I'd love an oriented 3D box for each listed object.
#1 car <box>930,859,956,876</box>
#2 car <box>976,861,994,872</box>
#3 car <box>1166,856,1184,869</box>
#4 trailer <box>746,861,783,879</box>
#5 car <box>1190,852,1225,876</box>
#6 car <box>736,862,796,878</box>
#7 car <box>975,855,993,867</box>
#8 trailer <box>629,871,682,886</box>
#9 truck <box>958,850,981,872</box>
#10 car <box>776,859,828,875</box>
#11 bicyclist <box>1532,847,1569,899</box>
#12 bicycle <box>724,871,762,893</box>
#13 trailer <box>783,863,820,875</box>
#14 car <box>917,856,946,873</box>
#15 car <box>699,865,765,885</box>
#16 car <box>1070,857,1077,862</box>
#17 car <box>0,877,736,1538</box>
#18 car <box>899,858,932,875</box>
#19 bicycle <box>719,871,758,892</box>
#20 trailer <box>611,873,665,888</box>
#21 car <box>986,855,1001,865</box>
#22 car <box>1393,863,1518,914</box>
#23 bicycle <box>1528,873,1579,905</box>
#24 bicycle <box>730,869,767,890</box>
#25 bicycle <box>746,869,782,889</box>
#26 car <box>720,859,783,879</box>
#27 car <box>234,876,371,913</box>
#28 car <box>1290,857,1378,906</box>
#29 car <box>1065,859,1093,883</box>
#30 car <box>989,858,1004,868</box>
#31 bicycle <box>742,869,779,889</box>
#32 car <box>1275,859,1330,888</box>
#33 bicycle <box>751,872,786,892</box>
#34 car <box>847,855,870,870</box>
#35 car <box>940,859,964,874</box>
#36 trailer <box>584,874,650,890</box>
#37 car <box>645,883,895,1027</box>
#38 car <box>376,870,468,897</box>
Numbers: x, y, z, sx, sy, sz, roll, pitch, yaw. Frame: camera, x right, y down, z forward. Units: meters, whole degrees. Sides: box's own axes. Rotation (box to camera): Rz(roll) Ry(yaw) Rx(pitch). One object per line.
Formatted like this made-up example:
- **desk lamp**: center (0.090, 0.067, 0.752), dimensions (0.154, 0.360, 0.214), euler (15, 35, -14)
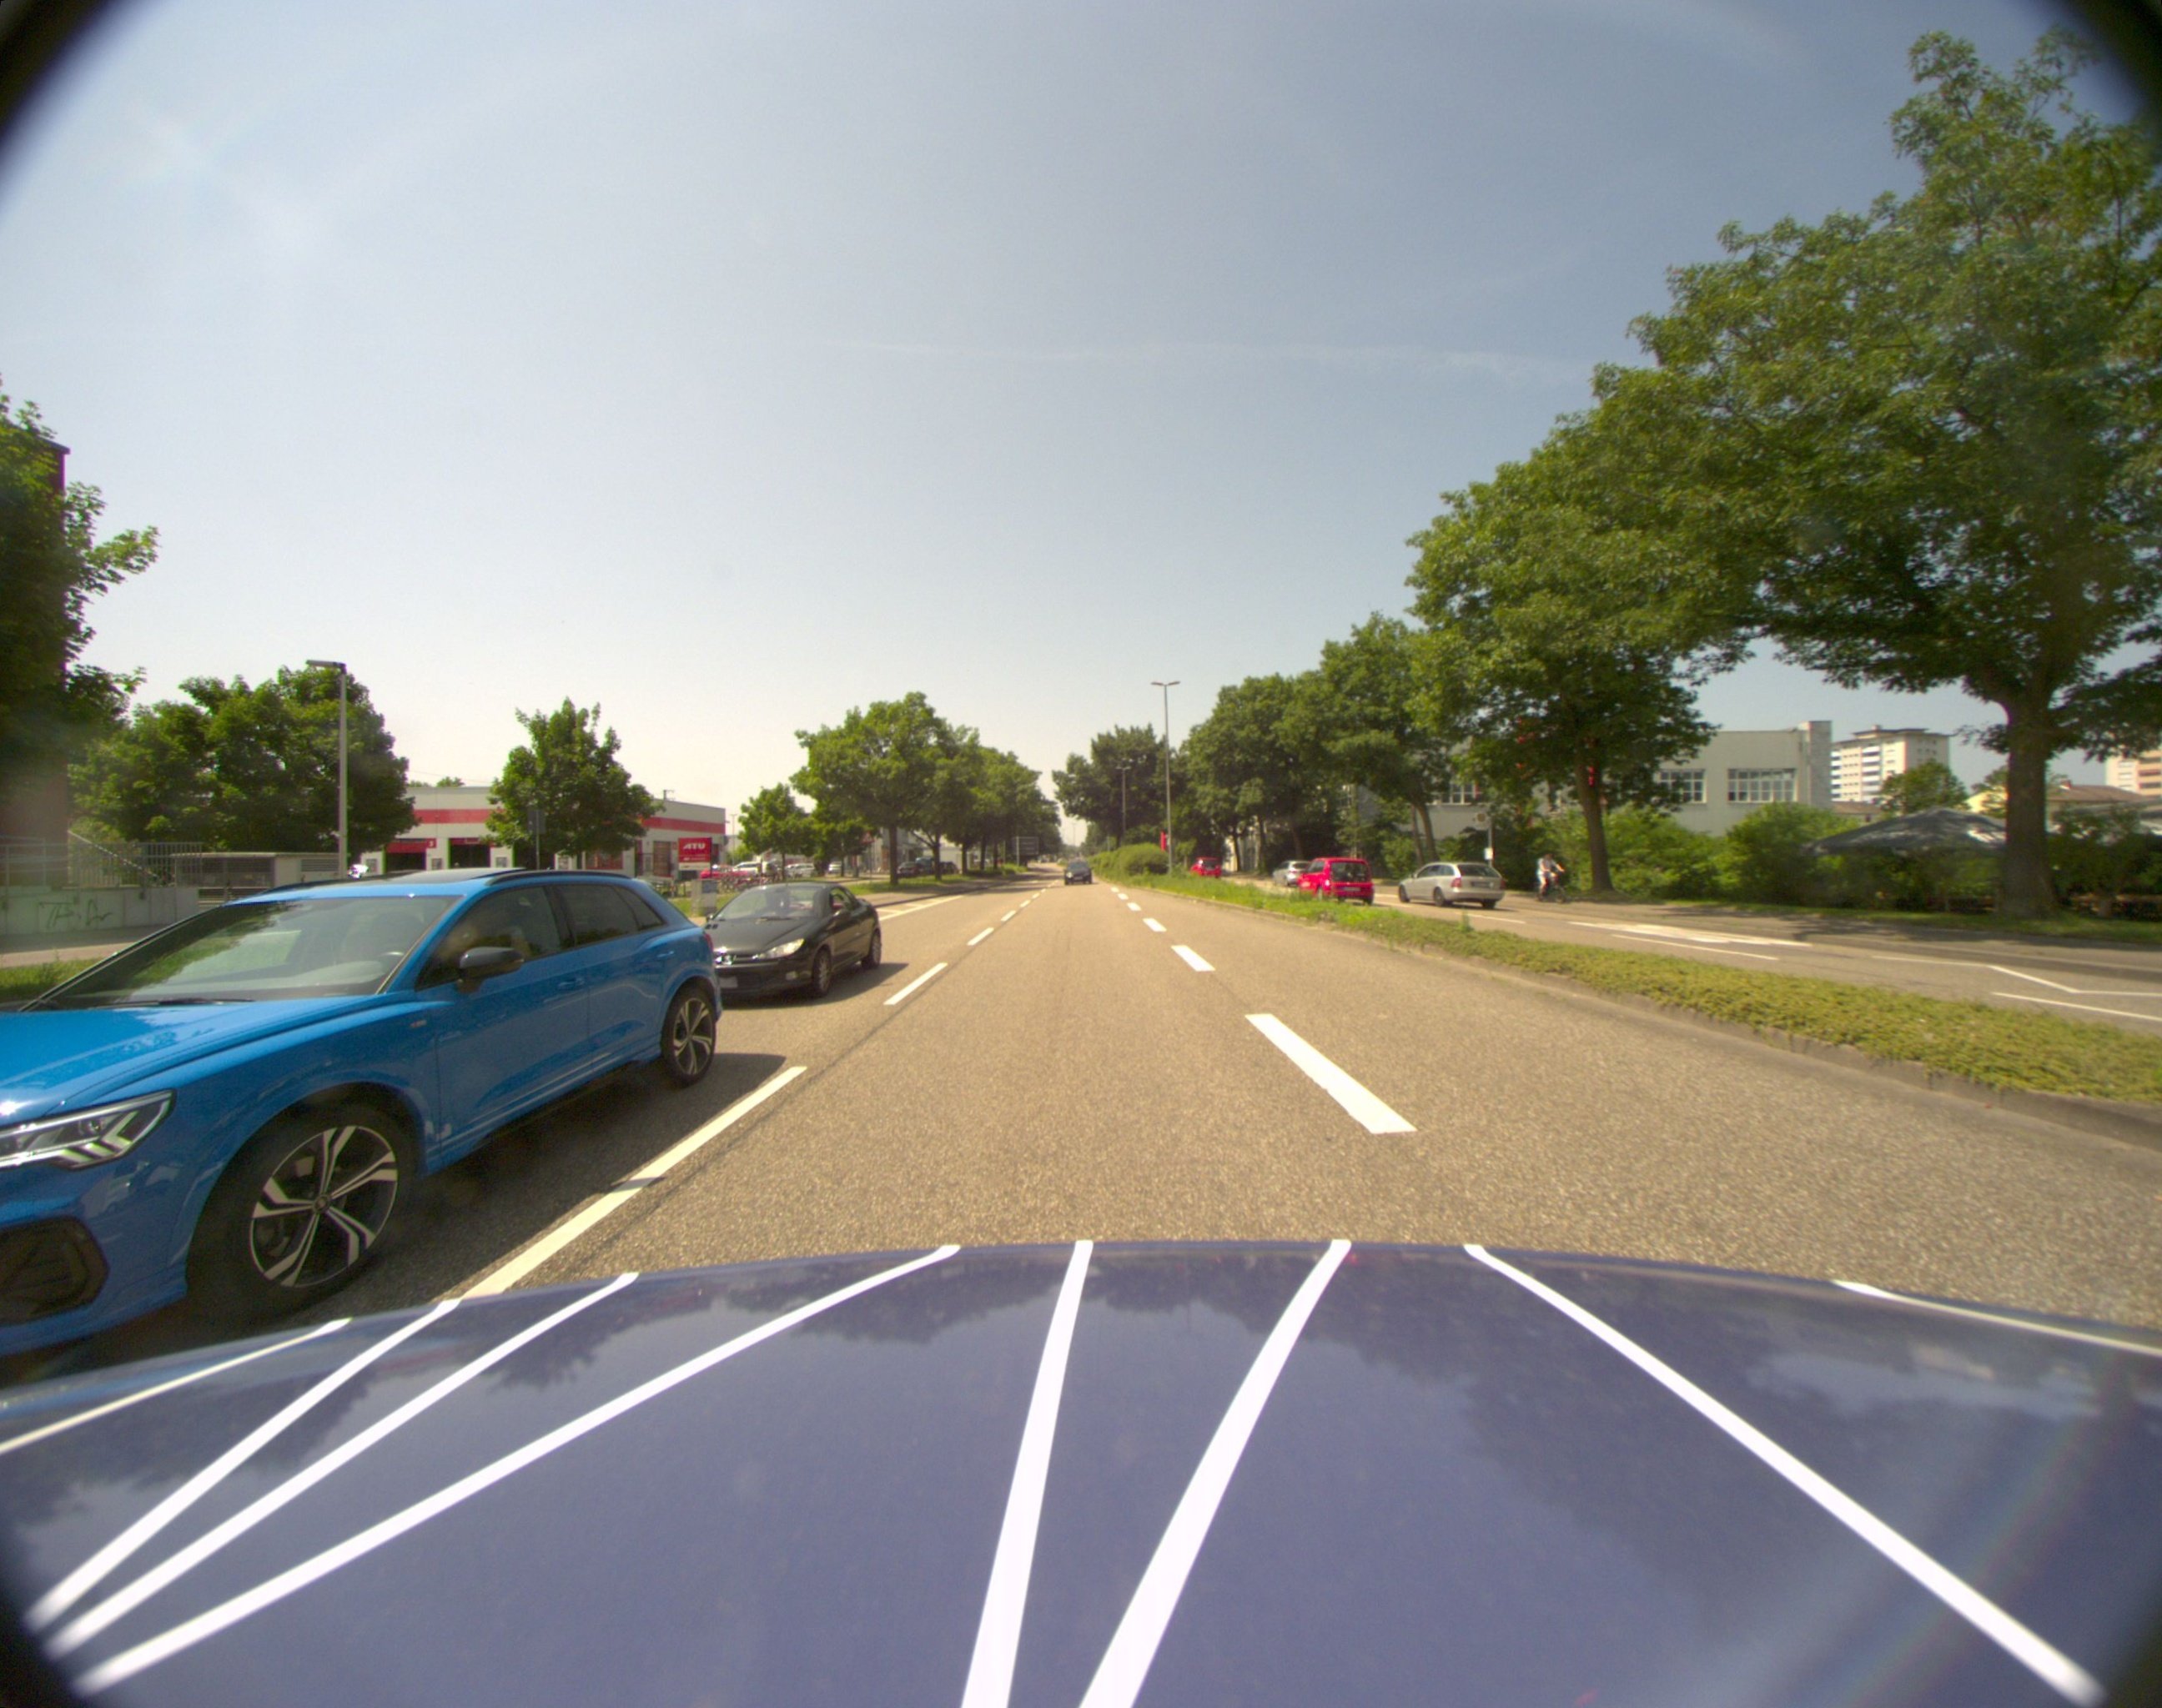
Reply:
- **car**: center (-13.030, 1.266, 72.012), dimensions (1.719, 1.511, 4.000), euler (-1, 0, 1)
- **car**: center (-12.923, 1.646, 102.462), dimensions (1.719, 1.458, 4.000), euler (-1, 0, 1)
- **car**: center (12.006, 1.042, 97.526), dimensions (1.720, 1.594, 4.213), euler (2, 0, 0)
- **trailer**: center (-27.135, 1.385, 65.177), dimensions (2.642, 1.518, 1.415), euler (-1, 0, -2)
- **car**: center (8.957, 0.689, 54.121), dimensions (1.753, 1.560, 4.153), euler (2, 0, 0)
- **car**: center (-24.979, 1.253, 60.369), dimensions (3.998, 1.201, 1.747), euler (-1, 0, -3)
- **car**: center (-12.224, 0.869, 95.911), dimensions (1.719, 1.458, 4.000), euler (-1, 0, 1)
- **trailer**: center (-23.871, 1.380, 42.668), dimensions (2.137, 0.757, 1.394), euler (-1, 0, 2)
- **truck**: center (-13.142, 0.836, 89.884), dimensions (1.904, 2.552, 4.001), euler (-1, 0, 2)
- **car**: center (-24.763, 1.145, 67.524), dimensions (3.998, 1.293, 1.689), euler (-1, 0, -3)
- **bicyclist**: center (15.053, 0.593, 24.381), dimensions (0.609, 1.621, 0.923), euler (0, 1, 1)
- **bicycle**: center (-18.179, 1.494, 40.878), dimensions (1.784, 1.117, 0.514), euler (-1, 0, -6)
- **trailer**: center (-24.018, 1.288, 65.369), dimensions (2.642, 1.046, 1.578), euler (-1, 0, -2)
- **car**: center (-13.076, 0.904, 66.714), dimensions (1.719, 1.458, 4.000), euler (-1, 0, 1)
- **car**: center (-25.458, 1.494, 55.478), dimensions (3.998, 1.394, 1.747), euler (-1, 0, -2)
- **car**: center (-2.334, 1.655, 233.421), dimensions (1.999, 1.692, 4.000), euler (-1, 0, 0)
- **car**: center (-3.731, 0.998, 3.933), dimensions (1.842, 1.586, 4.400), euler (-1, 0, 0)
- **car**: center (-13.187, 0.979, 60.797), dimensions (1.642, 1.363, 4.000), euler (-1, 0, 1)
- **bicycle**: center (-18.154, 1.457, 40.264), dimensions (1.784, 1.117, 0.514), euler (-1, 0, -6)
- **trailer**: center (-23.823, 1.400, 40.859), dimensions (2.137, 0.757, 1.267), euler (-1, 0, 2)
- **car**: center (-12.644, 0.842, 110.176), dimensions (1.719, 1.458, 4.000), euler (-1, 0, 1)
- **car**: center (11.882, 1.034, 24.450), dimensions (1.782, 1.396, 4.359), euler (2, 0, -1)
- **bicycle**: center (15.053, 1.102, 24.241), dimensions (0.619, 0.963, 1.660), euler (0, 0, 1)
- **bicycle**: center (-18.188, 1.399, 41.610), dimensions (1.784, 1.117, 0.514), euler (-1, 0, -6)
- **bicycle**: center (-17.933, 1.403, 43.039), dimensions (1.784, 1.117, 0.514), euler (-1, 0, -6)
- **car**: center (-25.051, 1.124, 57.834), dimensions (3.998, 1.394, 1.747), euler (-1, 0, -3)
- **car**: center (-32.440, 1.644, 31.829), dimensions (1.653, 1.305, 3.973), euler (0, 0, 0)
- **car**: center (8.156, 0.852, 24.776), dimensions (1.584, 1.432, 3.608), euler (1, 0, -1)
- **car**: center (-0.130, 1.051, 47.352), dimensions (1.642, 1.395, 4.000), euler (-1, 0, 0)
- **car**: center (-12.854, 1.423, 116.101), dimensions (1.719, 1.458, 4.000), euler (-1, 0, 1)
- **bicycle**: center (-17.840, 1.393, 42.290), dimensions (1.784, 1.117, 0.514), euler (-1, 0, -6)
- **car**: center (12.024, 1.019, 41.536), dimensions (1.753, 1.442, 4.133), euler (2, 0, 0)
- **bicycle**: center (-17.970, 1.620, 43.677), dimensions (1.784, 1.117, 0.514), euler (-1, 0, -6)
- **car**: center (-25.227, 0.934, 86.175), dimensions (1.759, 1.586, 3.998), euler (-1, 0, -7)
- **car**: center (-13.213, 1.253, 78.154), dimensions (1.719, 1.504, 4.000), euler (-1, 0, 1)
- **trailer**: center (-23.820, 1.423, 39.051), dimensions (2.467, 0.757, 1.449), euler (-1, 0, 2)
- **car**: center (-3.833, 1.163, 10.165), dimensions (1.642, 1.336, 4.000), euler (-3, 0, 0)
- **car**: center (-37.919, 1.653, 43.854), dimensions (1.717, 1.364, 4.145), euler (0, 0, 0)
